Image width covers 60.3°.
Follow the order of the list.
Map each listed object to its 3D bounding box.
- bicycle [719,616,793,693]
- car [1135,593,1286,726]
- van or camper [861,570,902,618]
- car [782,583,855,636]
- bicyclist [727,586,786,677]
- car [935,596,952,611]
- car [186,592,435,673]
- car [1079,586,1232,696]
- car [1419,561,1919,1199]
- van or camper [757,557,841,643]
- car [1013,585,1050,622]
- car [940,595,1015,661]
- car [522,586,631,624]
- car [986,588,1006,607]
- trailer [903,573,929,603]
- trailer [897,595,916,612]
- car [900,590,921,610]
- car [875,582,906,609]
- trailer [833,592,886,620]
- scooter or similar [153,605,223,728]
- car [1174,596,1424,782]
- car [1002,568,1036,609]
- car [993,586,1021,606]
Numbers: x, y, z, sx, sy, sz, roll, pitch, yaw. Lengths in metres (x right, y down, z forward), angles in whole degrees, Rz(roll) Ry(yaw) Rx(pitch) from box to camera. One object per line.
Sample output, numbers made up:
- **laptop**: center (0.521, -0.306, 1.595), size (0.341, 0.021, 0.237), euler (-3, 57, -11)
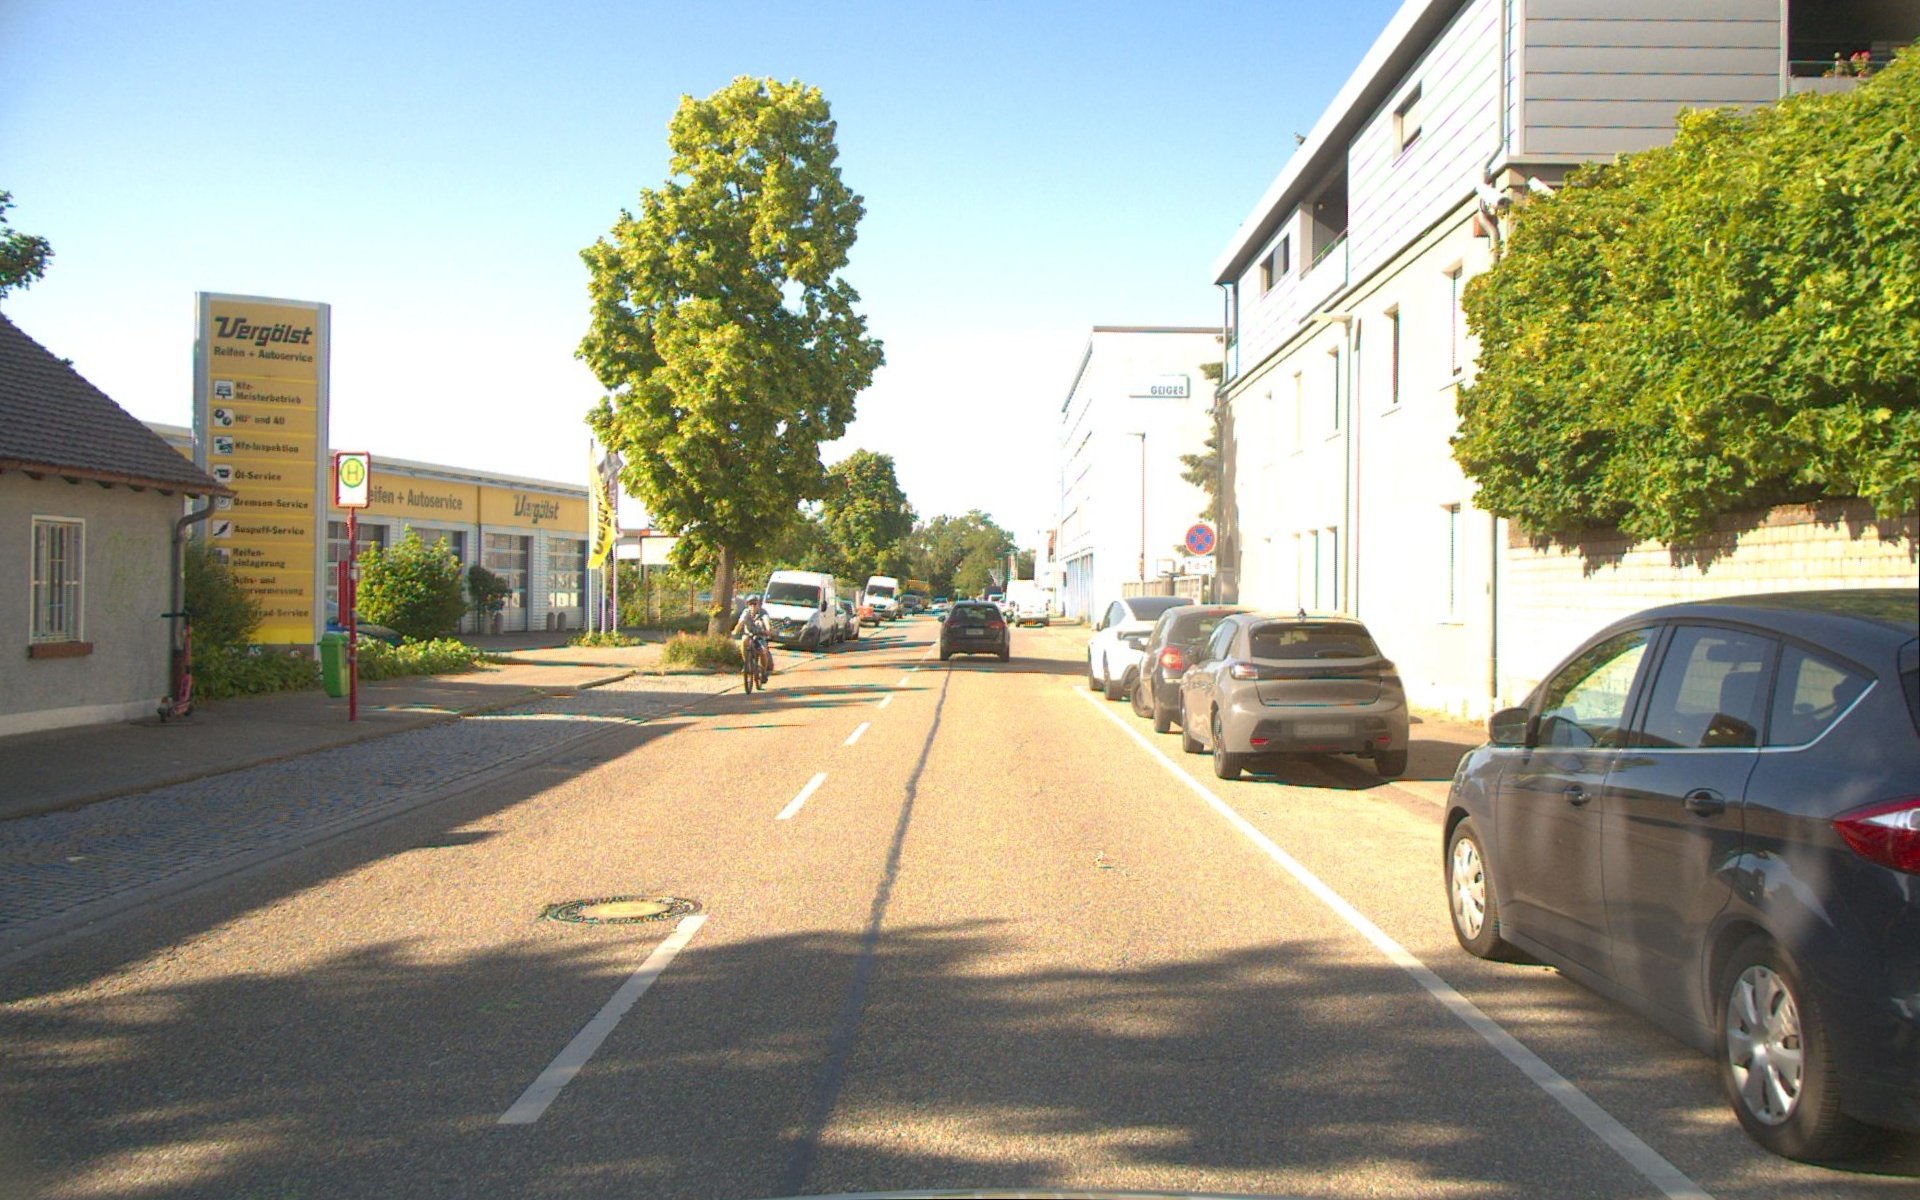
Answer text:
- **bicycle**: center (-3.570, 0.930, 29.182), size (0.822, 1.261, 2.605), euler (-1, 0, 3)
- **car**: center (3.128, 0.687, 21.300), size (1.565, 1.498, 4.192), euler (-1, 0, 4)
- **van or camper**: center (-4.894, -0.391, 103.980), size (1.926, 2.731, 5.949), euler (5, 1, 2)
- **car**: center (-5.152, 0.318, 60.674), size (1.952, 1.768, 4.577), euler (3, 1, 3)
- **bicyclist**: center (-3.584, 0.549, 29.172), size (0.822, 1.569, 1.137), euler (-1, -1, 3)
- **car**: center (-1.618, 0.362, 165.249), size (1.711, 1.473, 4.360), euler (0, 0, 0)
- **car**: center (-12.889, 0.609, 32.922), size (4.252, 1.534, 2.002), euler (0, 0, 14)
- **car**: center (3.186, 0.608, 27.885), size (1.892, 1.673, 4.768), euler (-1, 0, -1)
- **car**: center (3.145, 0.722, 6.069), size (1.647, 1.642, 4.204), euler (1, 0, -1)
- **van or camper**: center (-5.280, -0.036, 55.121), size (2.028, 2.593, 6.404), euler (4, 1, 0)
- **car**: center (3.735, 0.171, 86.737), size (1.850, 1.864, 5.091), euler (0, 0, 1)
- **car**: center (0.444, 0.664, 41.949), size (1.809, 1.557, 4.000), euler (-1, 0, 1)
- **car**: center (-16.248, 0.195, 70.224), size (4.069, 1.601, 1.918), euler (0, 0, 10)
- **car**: center (3.634, -0.220, 168.489), size (1.847, 1.829, 5.103), euler (1, 0, -1)
- **trailer**: center (-5.224, -1.389, 197.475), size (2.930, 3.503, 8.159), euler (0, 0, -1)
- **trailer**: center (-4.492, 0.300, 138.395), size (1.446, 1.378, 3.078), euler (1, 0, 0)
- **car**: center (-4.676, -0.005, 156.803), size (1.754, 1.761, 4.803), euler (-1, 0, 2)
- **car**: center (-4.896, -0.357, 117.167), size (1.989, 1.723, 5.105), euler (4, 0, -1)
- **trailer**: center (-5.153, 0.284, 85.274), size (2.328, 1.098, 6.245), euler (3, 1, 0)
- **scooter or similar**: center (-8.547, 0.708, 18.343), size (0.474, 1.293, 1.571), euler (0, 0, -17)
- **car**: center (3.139, 0.748, 16.060), size (1.625, 1.531, 4.032), euler (-1, 0, 1)
- **car**: center (3.985, -0.802, 112.771), size (1.953, 2.643, 6.050), euler (-2, 1, -1)
- **car**: center (3.505, -0.252, 124.141), size (1.856, 1.430, 5.123), euler (1, 0, 0)
